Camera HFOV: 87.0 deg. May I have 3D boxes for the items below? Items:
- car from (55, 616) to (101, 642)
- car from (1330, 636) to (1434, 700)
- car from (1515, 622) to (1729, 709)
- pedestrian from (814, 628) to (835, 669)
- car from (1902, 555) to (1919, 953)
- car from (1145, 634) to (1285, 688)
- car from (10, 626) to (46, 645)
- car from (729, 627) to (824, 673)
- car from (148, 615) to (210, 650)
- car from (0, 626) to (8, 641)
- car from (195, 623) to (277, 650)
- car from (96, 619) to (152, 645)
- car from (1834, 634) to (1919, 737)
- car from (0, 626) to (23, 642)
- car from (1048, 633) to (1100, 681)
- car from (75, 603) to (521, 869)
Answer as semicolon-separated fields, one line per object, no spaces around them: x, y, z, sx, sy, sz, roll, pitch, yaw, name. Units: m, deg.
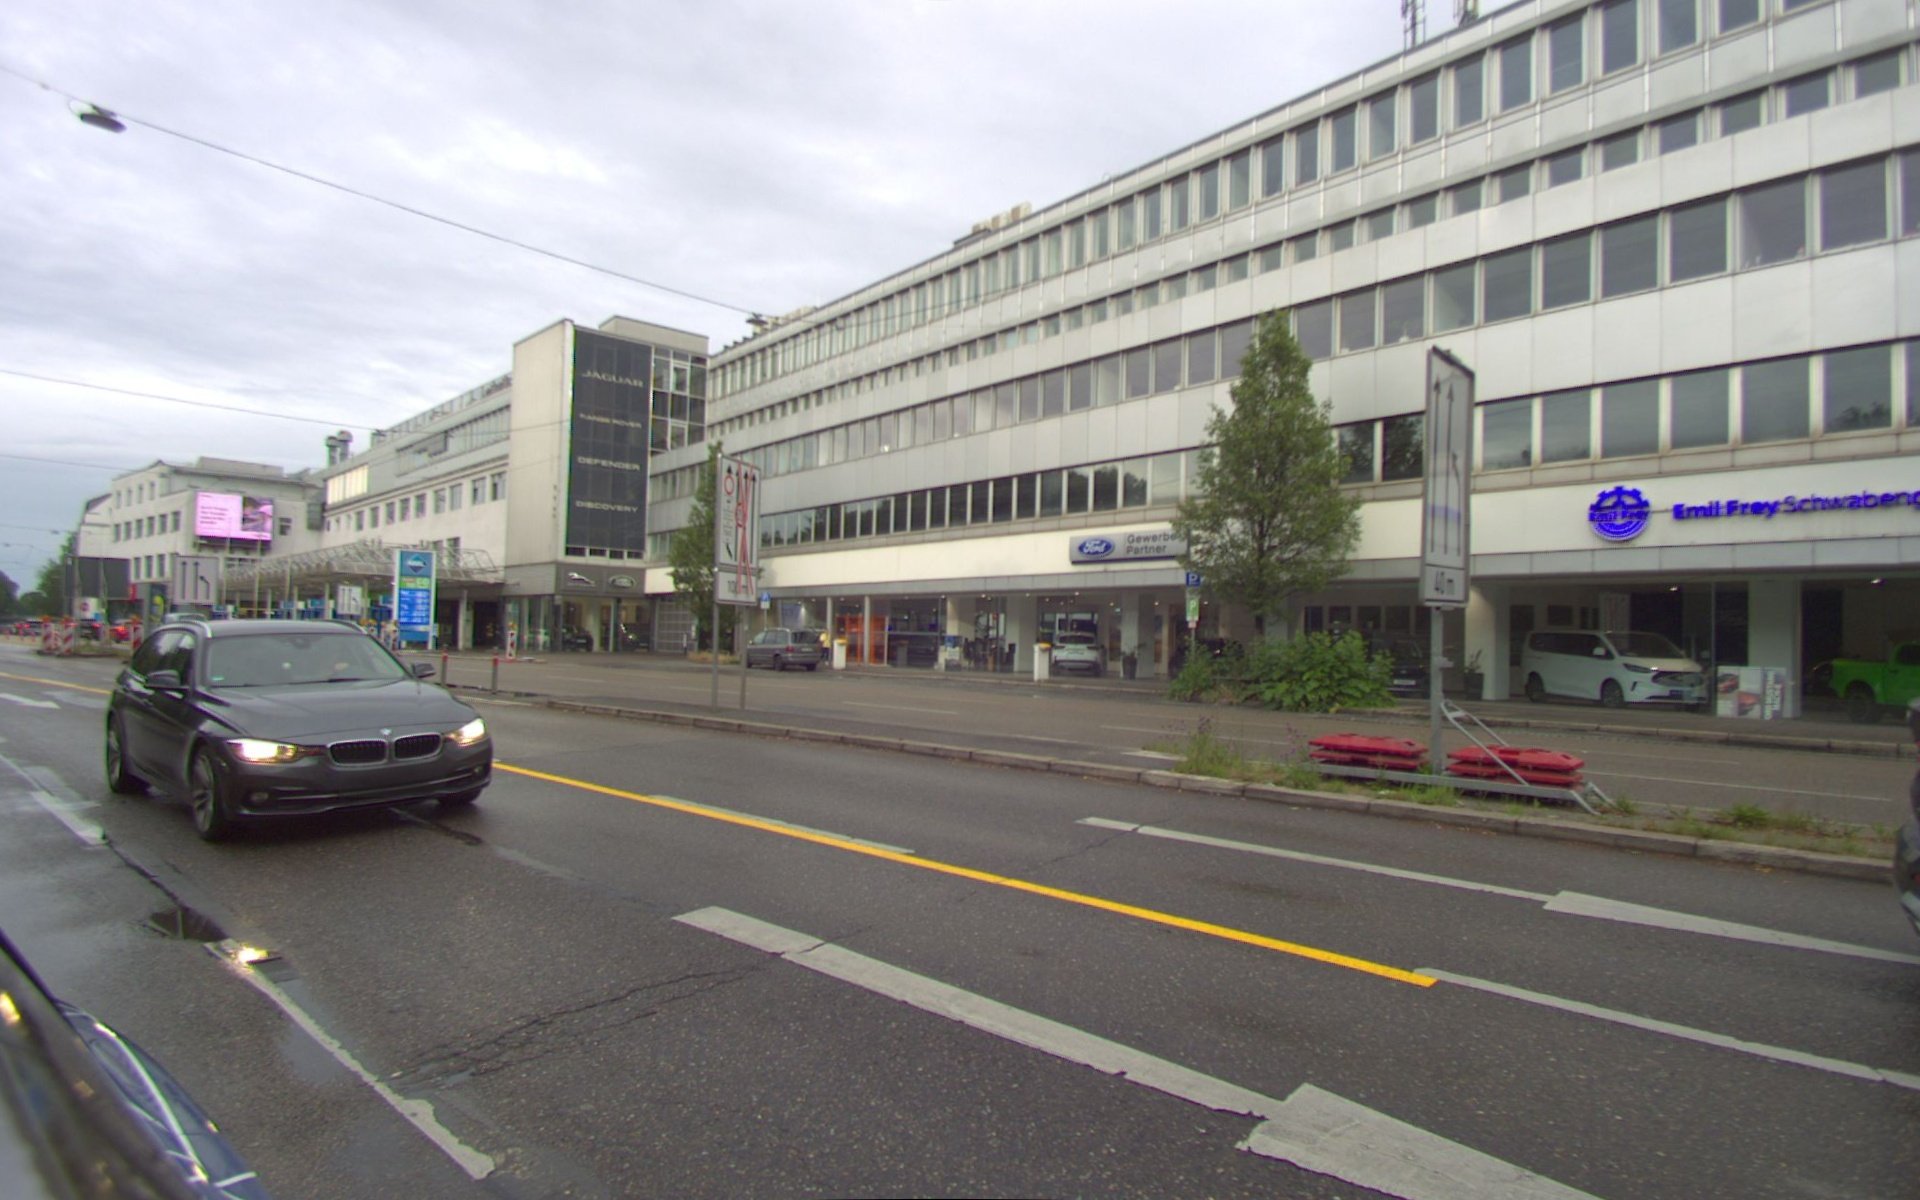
-64.000;2.106;73.397;4.601;1.751;1.826;-1;-3;41;car
11.662;1.879;28.220;1.980;1.586;3.983;1;-3;13;car
16.412;1.625;25.489;1.971;1.912;4.990;2;-3;-2;car
-5.994;2.147;44.780;0.709;1.745;0.539;4;-4;-36;pedestrian
5.538;0.587;2.482;4.670;1.610;1.926;-2;-2;43;car
8.103;1.922;32.413;1.967;1.586;4.009;4;-4;-36;car
-81.318;3.057;88.303;4.299;1.570;1.789;-1;-3;41;car
-7.845;2.103;42.924;1.825;1.792;4.737;5;-4;-40;car
-42.362;1.747;54.884;4.298;1.799;1.716;-1;-4;40;car
-118.100;4.068;123.577;4.825;1.720;1.960;-1;-3;39;car
-53.488;2.724;74.844;4.374;1.784;1.971;3;-4;-10;car
-51.417;1.957;62.203;4.369;1.514;1.811;-1;-4;40;car
19.882;1.694;19.496;1.976;2.027;5.194;2;-3;6;car
-98.665;3.500;105.088;4.000;1.525;1.732;0;-4;43;car
4.310;2.187;38.787;1.831;1.664;4.378;2;-3;5;car
-5.340;0.805;7.954;4.174;1.460;1.742;1;2;39;car
